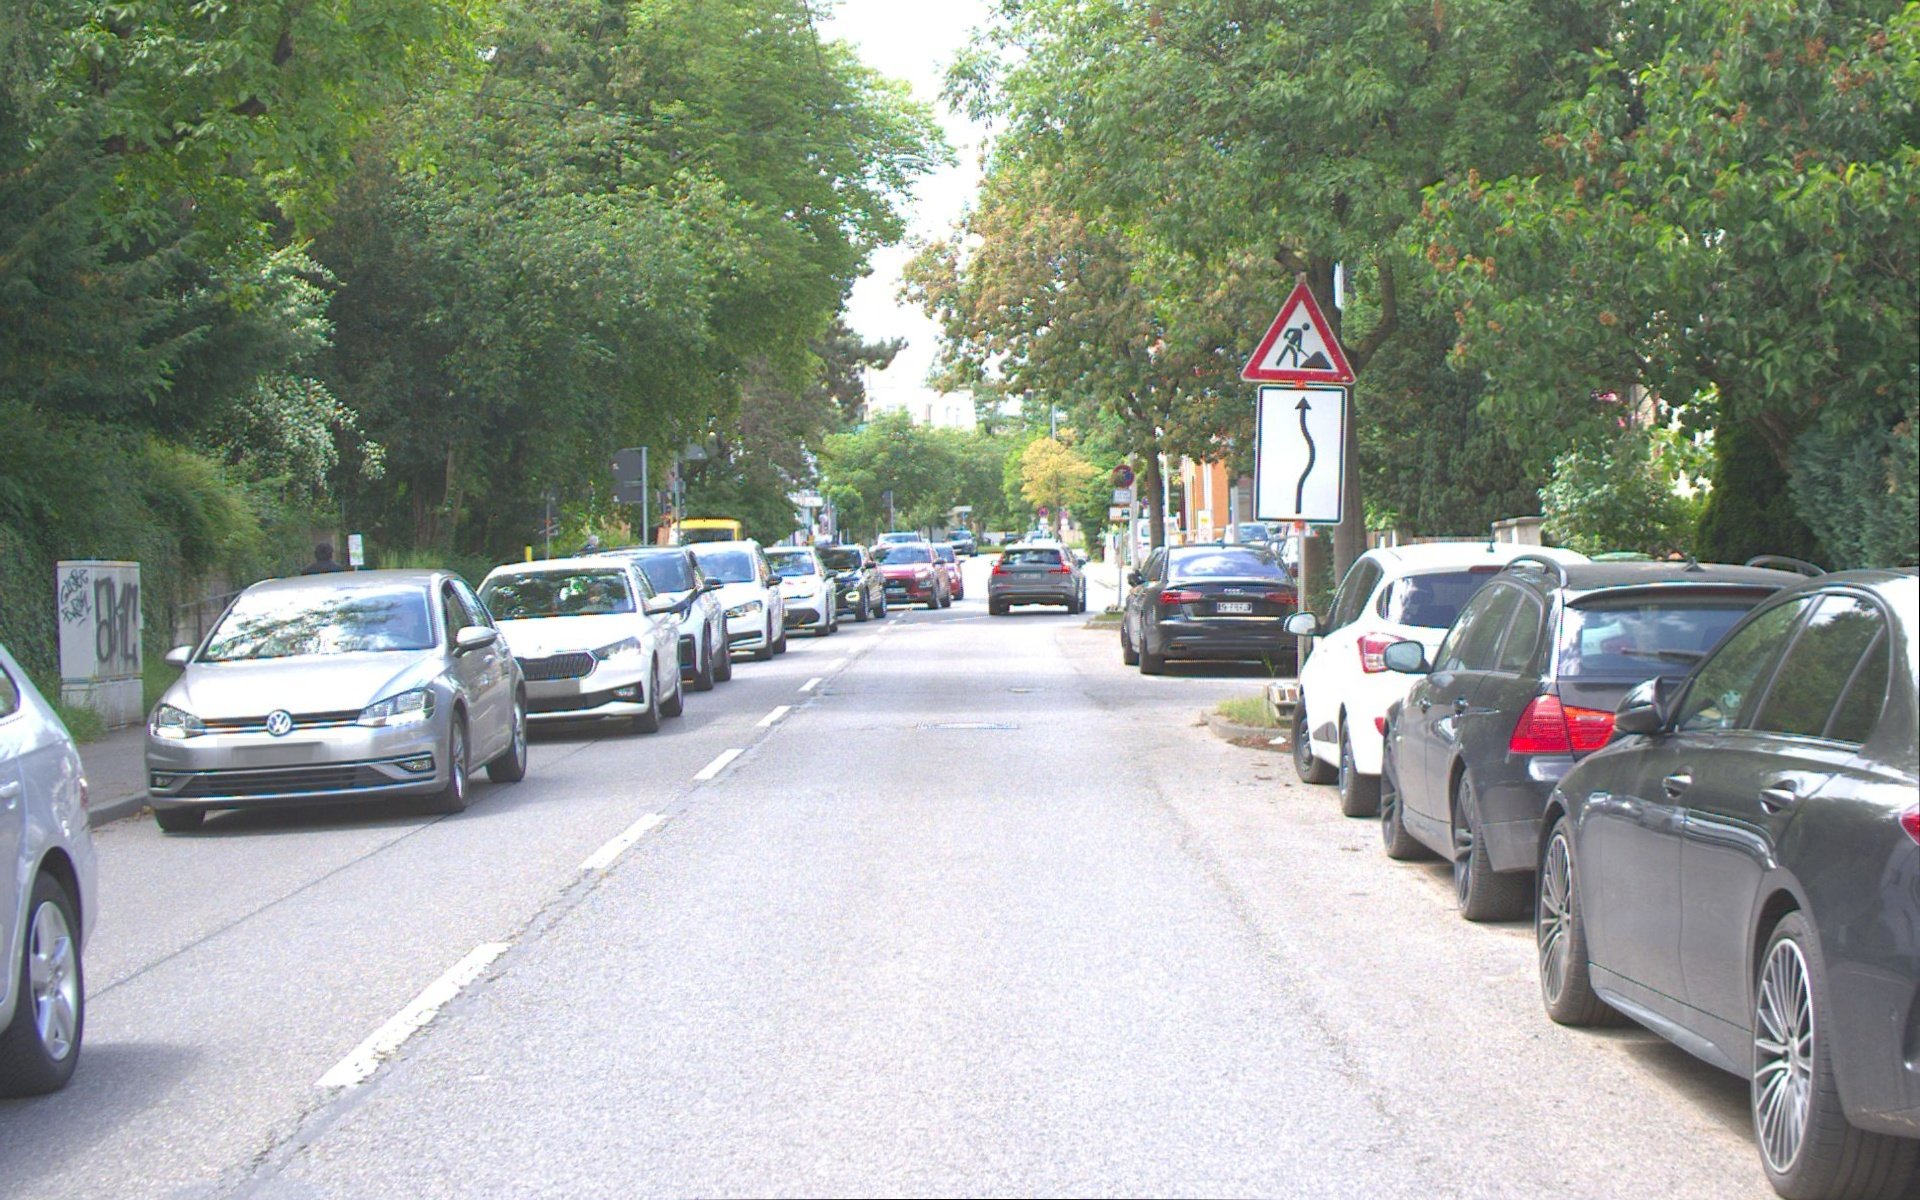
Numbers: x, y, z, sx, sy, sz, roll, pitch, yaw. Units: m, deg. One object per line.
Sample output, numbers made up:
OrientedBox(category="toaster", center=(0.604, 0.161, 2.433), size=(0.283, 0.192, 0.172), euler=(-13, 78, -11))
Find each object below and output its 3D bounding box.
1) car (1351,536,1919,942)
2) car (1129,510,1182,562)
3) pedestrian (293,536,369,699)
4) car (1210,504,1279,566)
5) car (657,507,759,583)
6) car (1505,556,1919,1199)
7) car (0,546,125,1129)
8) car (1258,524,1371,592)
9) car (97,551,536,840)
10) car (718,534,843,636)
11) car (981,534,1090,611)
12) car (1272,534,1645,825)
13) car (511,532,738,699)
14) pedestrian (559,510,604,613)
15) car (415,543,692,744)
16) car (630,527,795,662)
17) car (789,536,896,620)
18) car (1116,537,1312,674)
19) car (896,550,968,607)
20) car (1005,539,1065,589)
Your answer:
OrientedBox(category="car", center=(2.907, 0.468, 14.876), size=(1.993, 1.418, 4.588), euler=(-2, 1, 2))
OrientedBox(category="car", center=(7.881, -2.562, 138.964), size=(1.993, 2.007, 4.000), euler=(-1, 0, 2))
OrientedBox(category="pedestrian", center=(-6.518, 0.175, 35.670), size=(0.653, 1.661, 0.932), euler=(-1, 0, -5))
OrientedBox(category="car", center=(8.246, -1.889, 99.866), size=(1.784, 1.629, 3.692), euler=(-5, 1, 4))
OrientedBox(category="car", center=(-6.850, -1.491, 94.022), size=(2.146, 1.974, 4.930), euler=(-1, 0, 3))
OrientedBox(category="car", center=(2.680, 0.641, 8.972), size=(1.734, 1.424, 4.883), euler=(1, 1, 0))
OrientedBox(category="car", center=(-3.379, 0.690, 8.041), size=(1.728, 1.497, 4.376), euler=(-4, 1, 0))
OrientedBox(category="car", center=(7.236, -0.878, 70.482), size=(1.724, 1.312, 4.267), euler=(-1, 1, -2))
OrientedBox(category="car", center=(-3.782, 0.497, 20.939), size=(1.709, 1.450, 4.287), euler=(-5, 1, 1))
OrientedBox(category="car", center=(-3.041, -0.284, 59.012), size=(1.785, 1.586, 4.154), euler=(-3, 1, 1))
OrientedBox(category="car", center=(1.613, -0.597, 71.840), size=(1.976, 1.508, 4.266), euler=(2, 1, 5))
OrientedBox(category="car", center=(2.832, 0.388, 20.240), size=(1.622, 1.502, 3.779), euler=(-2, 1, 0))
OrientedBox(category="car", center=(-3.567, 0.121, 37.223), size=(1.928, 1.541, 4.087), euler=(-5, 1, 0))
OrientedBox(category="pedestrian", center=(-6.552, -0.670, 59.549), size=(0.714, 1.756, 1.122), euler=(-1, 0, -5))
OrientedBox(category="car", center=(-3.325, 0.306, 28.788), size=(1.760, 1.434, 3.970), euler=(-3, 1, 0))
OrientedBox(category="car", center=(-3.325, -0.114, 46.951), size=(1.786, 1.642, 4.491), euler=(-3, 1, 1))
OrientedBox(category="car", center=(-2.354, -0.467, 69.889), size=(1.789, 1.536, 4.263), euler=(-3, 1, 2))
OrientedBox(category="car", center=(2.826, 0.014, 39.229), size=(1.801, 1.440, 4.887), euler=(1, 1, -1))
OrientedBox(category="car", center=(-0.714, -0.559, 90.280), size=(1.691, 1.420, 3.437), euler=(-1, 0, 2))
OrientedBox(category="car", center=(2.315, -1.132, 106.134), size=(1.816, 1.495, 4.267), euler=(0, 1, 2))
